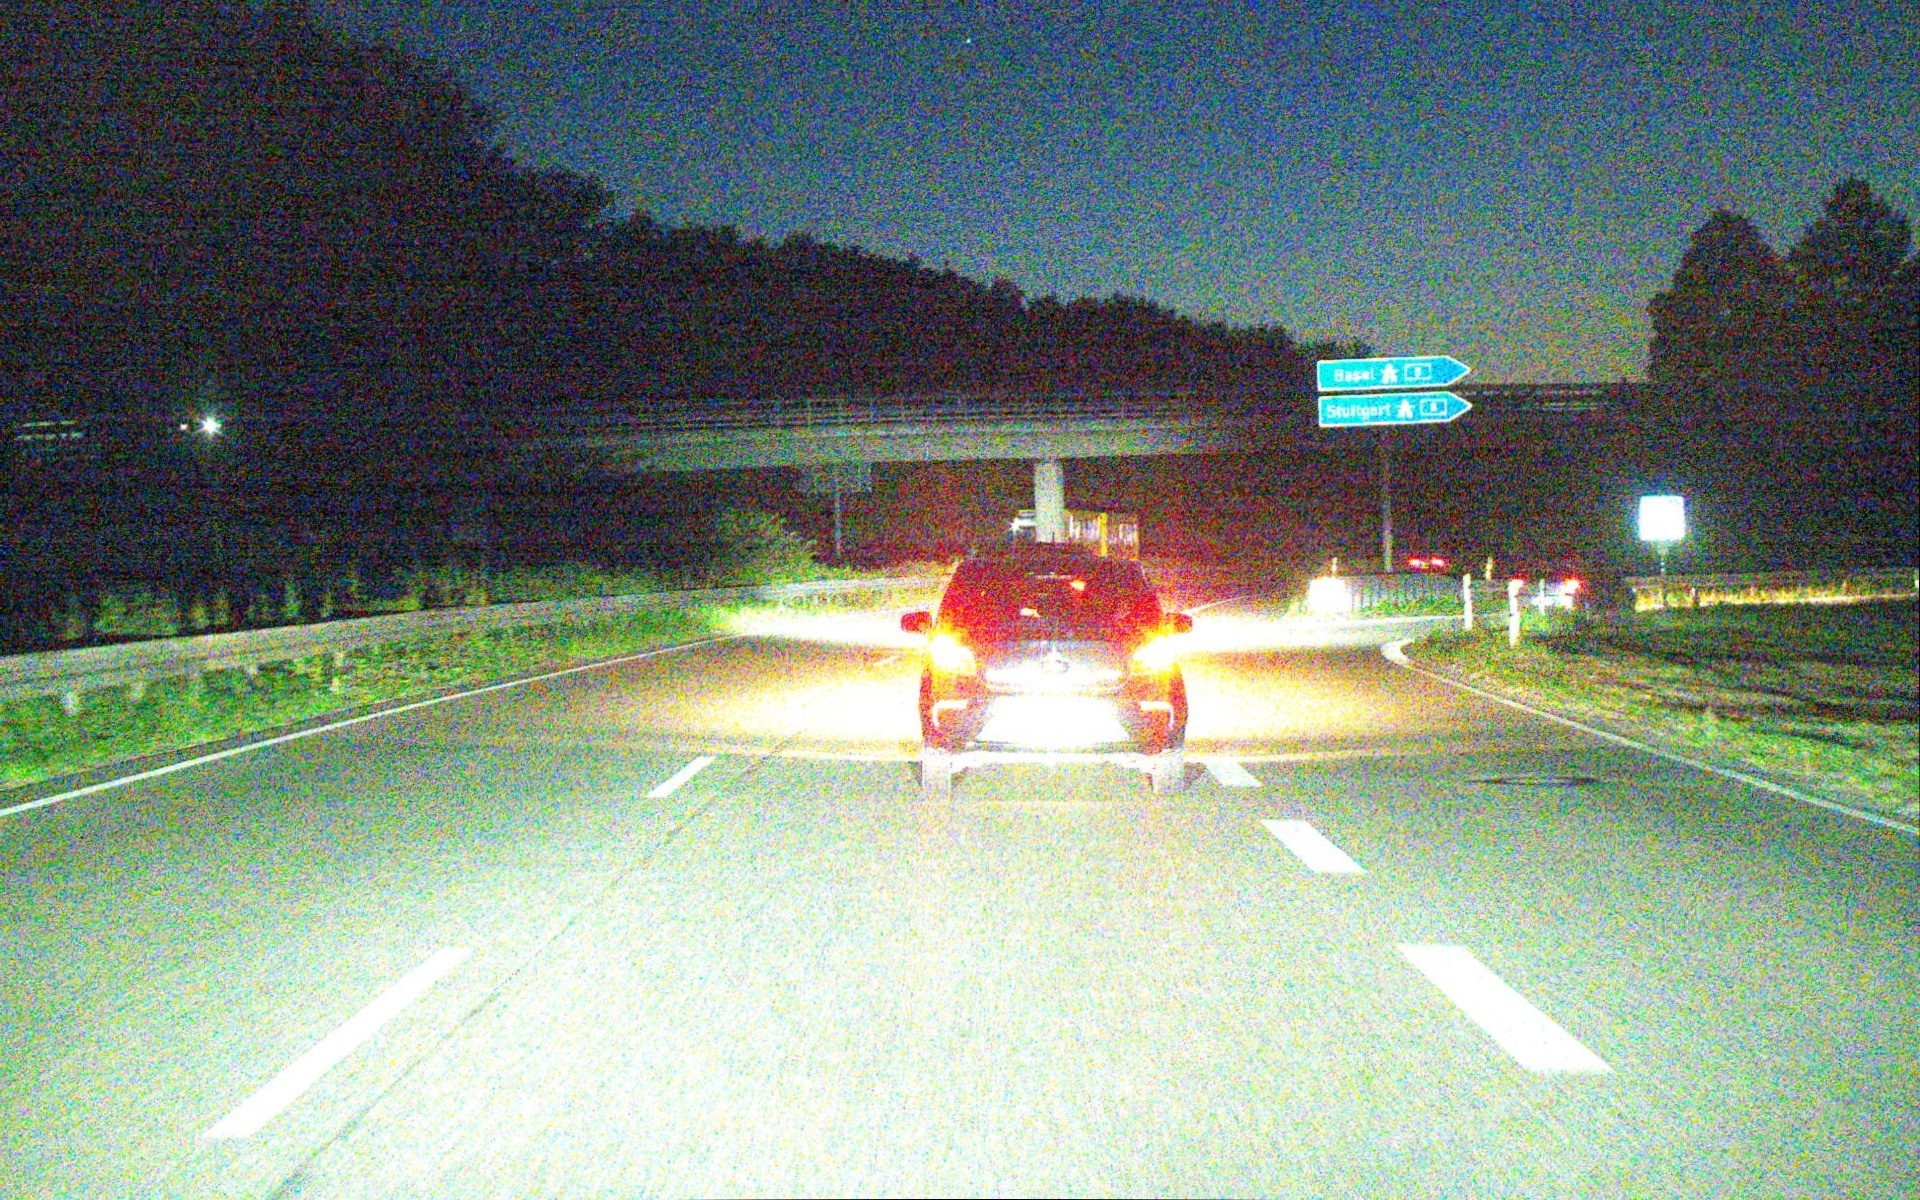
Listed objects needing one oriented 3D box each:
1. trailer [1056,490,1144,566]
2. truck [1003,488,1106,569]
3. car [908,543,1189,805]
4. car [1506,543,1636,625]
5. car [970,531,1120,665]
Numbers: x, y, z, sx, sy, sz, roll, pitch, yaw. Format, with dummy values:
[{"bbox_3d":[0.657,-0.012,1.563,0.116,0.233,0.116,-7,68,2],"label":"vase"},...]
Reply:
[{"bbox_3d":[7.649,-3.897,186.545,2.719,3.943,9.041,-1,1,15],"label":"trailer"},{"bbox_3d":[4.956,-3.677,177.099,2.682,4.030,10.646,-1,1,16],"label":"truck"},{"bbox_3d":[0.488,0.400,22.140,1.588,1.503,4.000,1,1,-1],"label":"car"},{"bbox_3d":[14.075,-0.380,79.003,1.934,1.809,4.259,0,1,25],"label":"car"},{"bbox_3d":[1.144,-0.063,46.103,1.906,1.692,4.000,-1,1,1],"label":"car"}]
